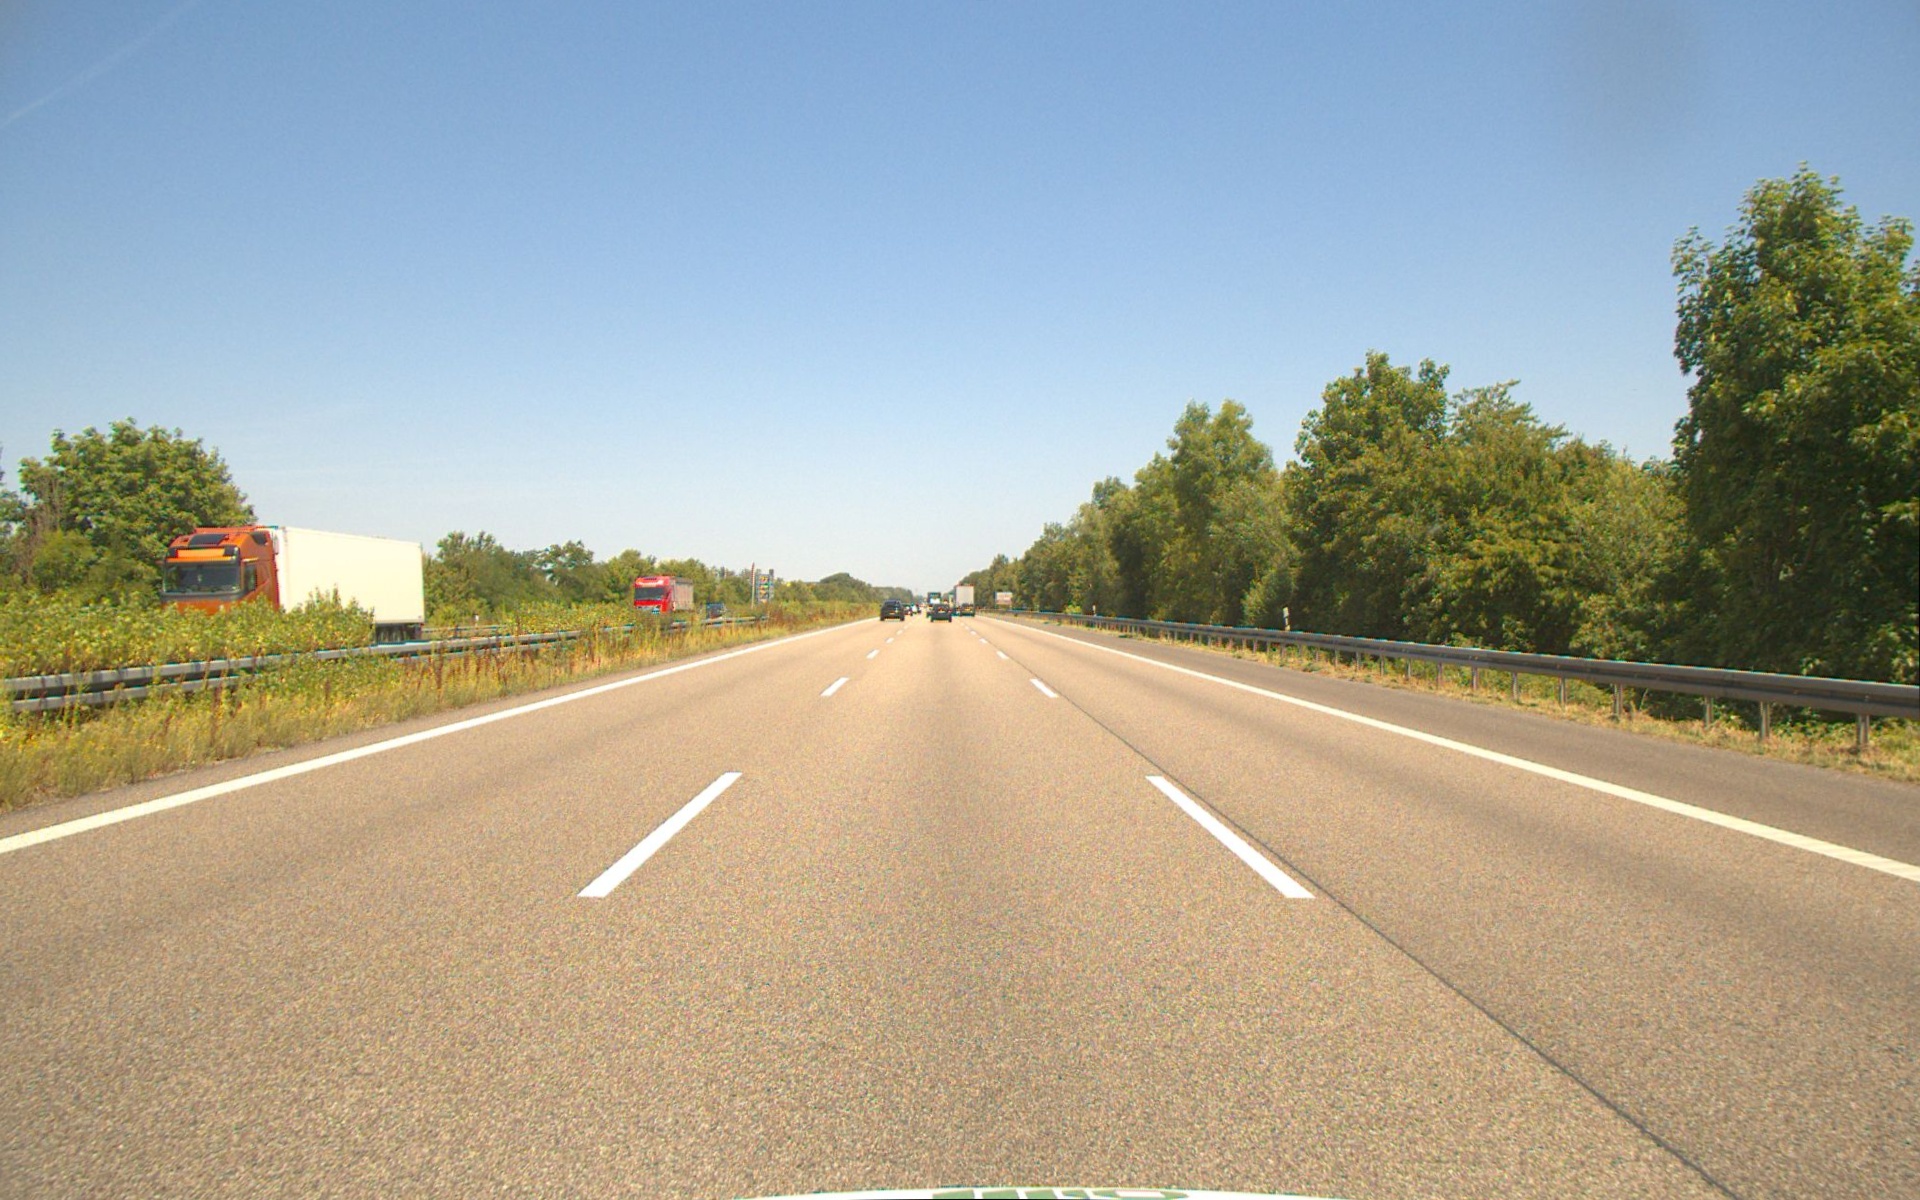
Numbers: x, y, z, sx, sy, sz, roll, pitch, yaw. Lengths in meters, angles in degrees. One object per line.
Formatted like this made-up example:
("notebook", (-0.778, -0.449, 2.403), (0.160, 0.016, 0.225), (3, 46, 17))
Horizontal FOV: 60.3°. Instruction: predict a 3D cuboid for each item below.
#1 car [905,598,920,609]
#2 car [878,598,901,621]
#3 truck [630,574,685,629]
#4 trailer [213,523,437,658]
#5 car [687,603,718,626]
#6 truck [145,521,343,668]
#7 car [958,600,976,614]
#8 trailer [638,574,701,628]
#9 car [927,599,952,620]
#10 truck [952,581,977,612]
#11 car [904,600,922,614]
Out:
("car", (-7.420, 0.485, 258.674), (2.085, 1.674, 4.303), (-1, 0, 0))
("car", (-5.739, 0.755, 135.287), (1.842, 1.823, 3.999), (0, 1, -2))
("truck", (-22.498, 0.082, 123.144), (3.016, 3.937, 5.590), (-1, 0, 0))
("trailer", (-21.580, -0.288, 57.332), (2.677, 4.004, 13.063), (-3, 0, -1))
("car", (-19.235, 1.074, 123.521), (1.620, 1.673, 4.333), (-1, 0, 0))
("truck", (-21.523, -0.147, 50.248), (2.677, 4.004, 7.414), (-3, 0, -1))
("car", (0.859, 0.800, 195.214), (2.085, 1.611, 4.303), (-1, 0, 0))
("trailer", (-22.539, 0.087, 128.969), (3.016, 3.937, 10.905), (-1, 0, 0))
("car", (-1.610, 0.744, 130.310), (1.864, 1.611, 4.303), (-1, 0, 0))
("truck", (0.543, -0.444, 226.407), (3.316, 4.040, 9.536), (-1, 0, 0))
("car", (-5.782, 0.869, 202.798), (2.085, 1.674, 4.303), (-1, 0, 0))
